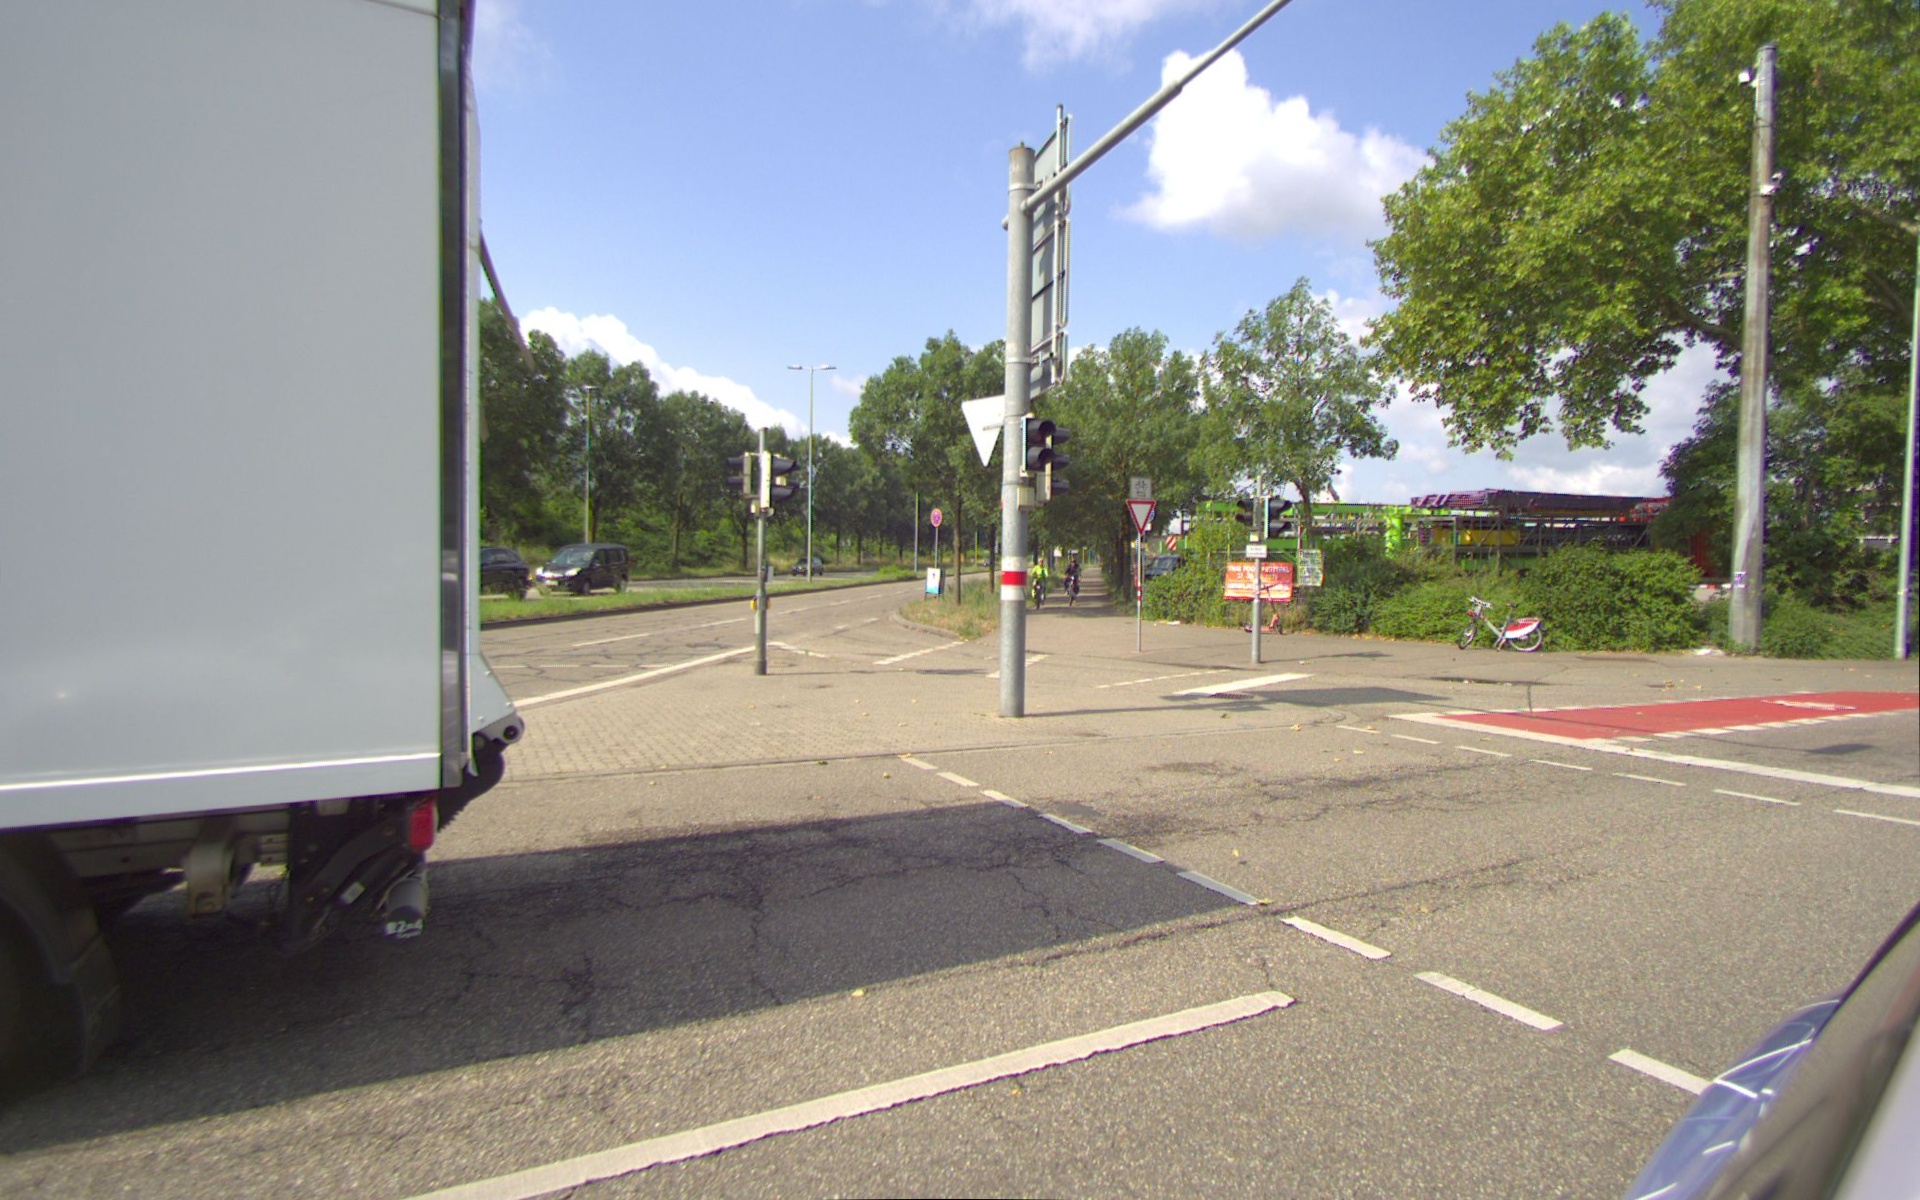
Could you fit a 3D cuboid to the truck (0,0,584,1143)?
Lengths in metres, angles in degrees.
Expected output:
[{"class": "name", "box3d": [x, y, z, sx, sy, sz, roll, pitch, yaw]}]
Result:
[{"class": "truck", "box3d": [-4.309, -0.291, 2.687, 5.907, 3.159, 2.458, -1, 2, -29]}]

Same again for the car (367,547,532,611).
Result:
[{"class": "car", "box3d": [-14.839, -0.706, 29.759, 1.792, 1.663, 4.790, 2, 3, 11]}]

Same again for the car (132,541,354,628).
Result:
[{"class": "car", "box3d": [-16.080, -0.428, 22.996, 1.943, 1.770, 4.019, 1, 3, 7]}]

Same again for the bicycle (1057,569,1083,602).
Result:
[{"class": "bicycle", "box3d": [4.298, -0.581, 39.420, 0.780, 1.211, 2.225, 1, 2, 12]}]

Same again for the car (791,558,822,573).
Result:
[{"class": "car", "box3d": [-11.573, -2.584, 76.293, 1.517, 1.062, 3.365, 1, 1, 5]}]

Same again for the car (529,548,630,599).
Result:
[{"class": "car", "box3d": [-13.691, -1.022, 36.679, 1.615, 1.654, 4.199, 1, 4, 8]}]

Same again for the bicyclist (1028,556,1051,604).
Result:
[{"class": "bicyclist", "box3d": [2.890, -0.731, 36.909, 0.665, 1.701, 0.837, -3, -1, 0]}]

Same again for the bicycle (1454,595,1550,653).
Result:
[{"class": "bicycle", "box3d": [10.681, 0.457, 19.977, 1.627, 1.054, 0.522, 1, 5, 36]}]

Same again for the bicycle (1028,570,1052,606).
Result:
[{"class": "bicycle", "box3d": [2.912, -0.419, 36.903, 0.665, 1.211, 2.232, -3, -1, 1]}]

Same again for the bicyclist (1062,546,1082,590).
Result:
[{"class": "bicyclist", "box3d": [4.359, -1.257, 39.410, 0.667, 1.707, 0.752, 1, 1, 13]}]

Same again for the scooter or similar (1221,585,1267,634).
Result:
[{"class": "scooter or similar", "box3d": [6.759, 0.209, 24.145, 0.401, 1.125, 1.010, 0, 1, -39]}]
